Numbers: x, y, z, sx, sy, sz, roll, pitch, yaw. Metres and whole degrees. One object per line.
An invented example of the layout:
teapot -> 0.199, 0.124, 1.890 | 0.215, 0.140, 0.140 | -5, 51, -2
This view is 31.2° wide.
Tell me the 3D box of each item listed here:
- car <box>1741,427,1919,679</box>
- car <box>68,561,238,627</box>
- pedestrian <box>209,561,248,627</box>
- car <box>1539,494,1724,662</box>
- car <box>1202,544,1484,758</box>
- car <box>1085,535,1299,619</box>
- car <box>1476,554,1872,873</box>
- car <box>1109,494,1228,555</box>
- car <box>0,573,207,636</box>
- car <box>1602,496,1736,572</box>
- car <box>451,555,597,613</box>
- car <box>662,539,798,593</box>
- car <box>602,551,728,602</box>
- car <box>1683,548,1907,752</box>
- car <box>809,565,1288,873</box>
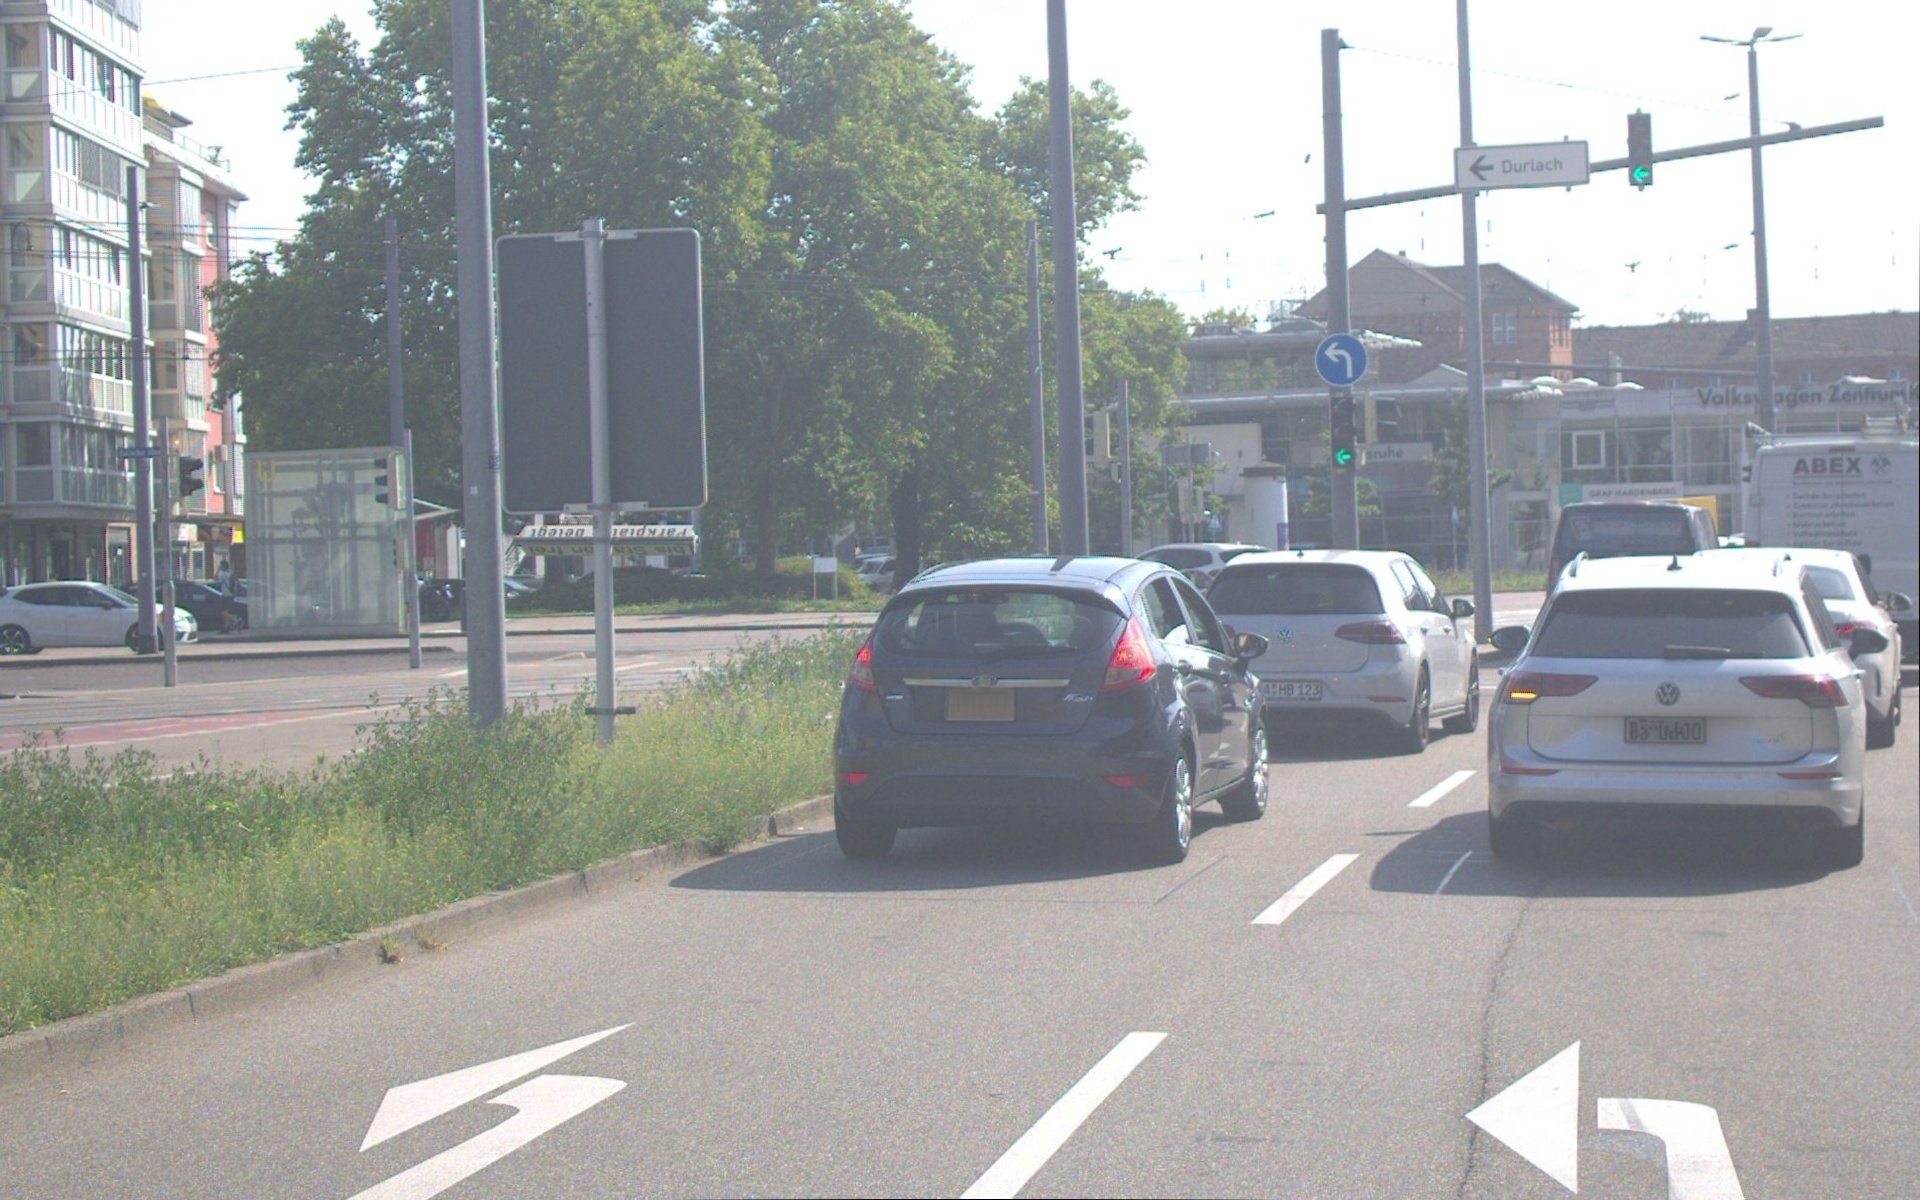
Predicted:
car -> 9.716, -0.497, 37.247 | 2.190, 2.540, 4.680 | -1, 0, 16
car -> -21.356, -0.177, 91.076 | 3.987, 1.552, 1.869 | -1, 3, 1
pedestrian -> -18.200, -0.145, 85.543 | 0.850, 1.615, 0.542 | -2, 1, -4
car -> 8.606, -0.298, 43.759 | 2.025, 2.001, 4.681 | -1, 1, 14
car -> 2.889, 0.325, 25.345 | 1.490, 1.410, 3.645 | -1, 1, 15
car -> 4.253, -0.411, 63.608 | 1.623, 1.497, 4.088 | -1, 0, -38
car -> 3.547, 0.486, 16.884 | 1.686, 1.383, 3.632 | -1, 0, 13
car -> 7.427, -2.689, 122.367 | 3.989, 2.006, 1.999 | -1, 3, 11
car -> -16.753, 0.074, 66.963 | 3.829, 1.176, 1.576 | 0, 1, -1
car -> 19.679, -1.836, 95.265 | 1.997, 2.007, 4.655 | -1, 1, 34
car -> -12.571, -0.468, 99.290 | 3.987, 1.552, 1.728 | -1, 1, 0
car -> -6.939, -1.032, 104.118 | 3.987, 1.552, 1.728 | -1, 1, 0
car -> -9.716, -0.777, 113.382 | 3.987, 1.552, 1.728 | -1, 1, 0
car -> 6.223, 0.331, 25.700 | 1.490, 1.398, 3.940 | -1, 0, 13
car -> 0.575, 0.528, 17.588 | 1.702, 1.363, 3.961 | -1, 1, 13
